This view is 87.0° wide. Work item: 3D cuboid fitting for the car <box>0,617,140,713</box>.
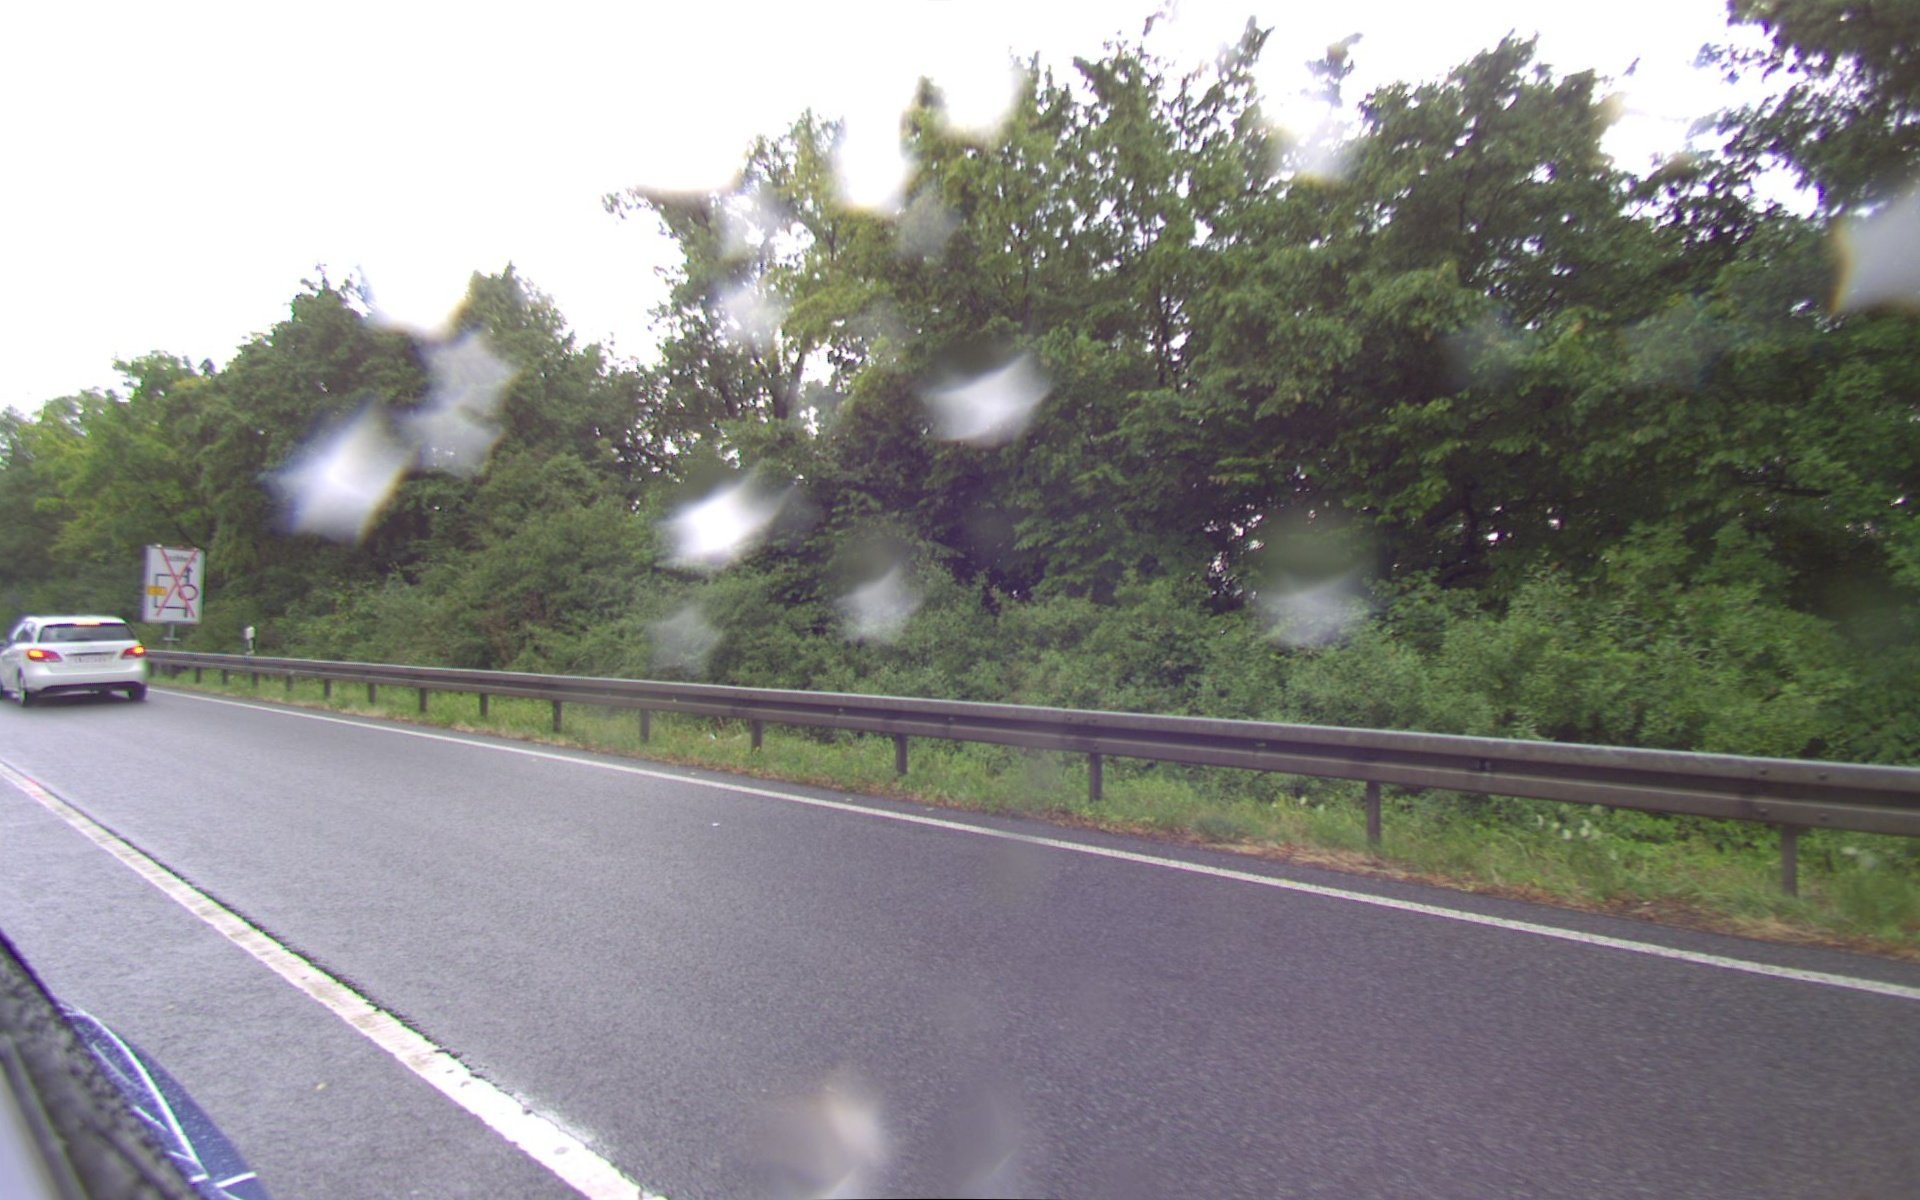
[{"bbox_3d":[-16.911,1.113,18.979,4.440,1.567,1.674,-1,0,41],"label":"car"}]
